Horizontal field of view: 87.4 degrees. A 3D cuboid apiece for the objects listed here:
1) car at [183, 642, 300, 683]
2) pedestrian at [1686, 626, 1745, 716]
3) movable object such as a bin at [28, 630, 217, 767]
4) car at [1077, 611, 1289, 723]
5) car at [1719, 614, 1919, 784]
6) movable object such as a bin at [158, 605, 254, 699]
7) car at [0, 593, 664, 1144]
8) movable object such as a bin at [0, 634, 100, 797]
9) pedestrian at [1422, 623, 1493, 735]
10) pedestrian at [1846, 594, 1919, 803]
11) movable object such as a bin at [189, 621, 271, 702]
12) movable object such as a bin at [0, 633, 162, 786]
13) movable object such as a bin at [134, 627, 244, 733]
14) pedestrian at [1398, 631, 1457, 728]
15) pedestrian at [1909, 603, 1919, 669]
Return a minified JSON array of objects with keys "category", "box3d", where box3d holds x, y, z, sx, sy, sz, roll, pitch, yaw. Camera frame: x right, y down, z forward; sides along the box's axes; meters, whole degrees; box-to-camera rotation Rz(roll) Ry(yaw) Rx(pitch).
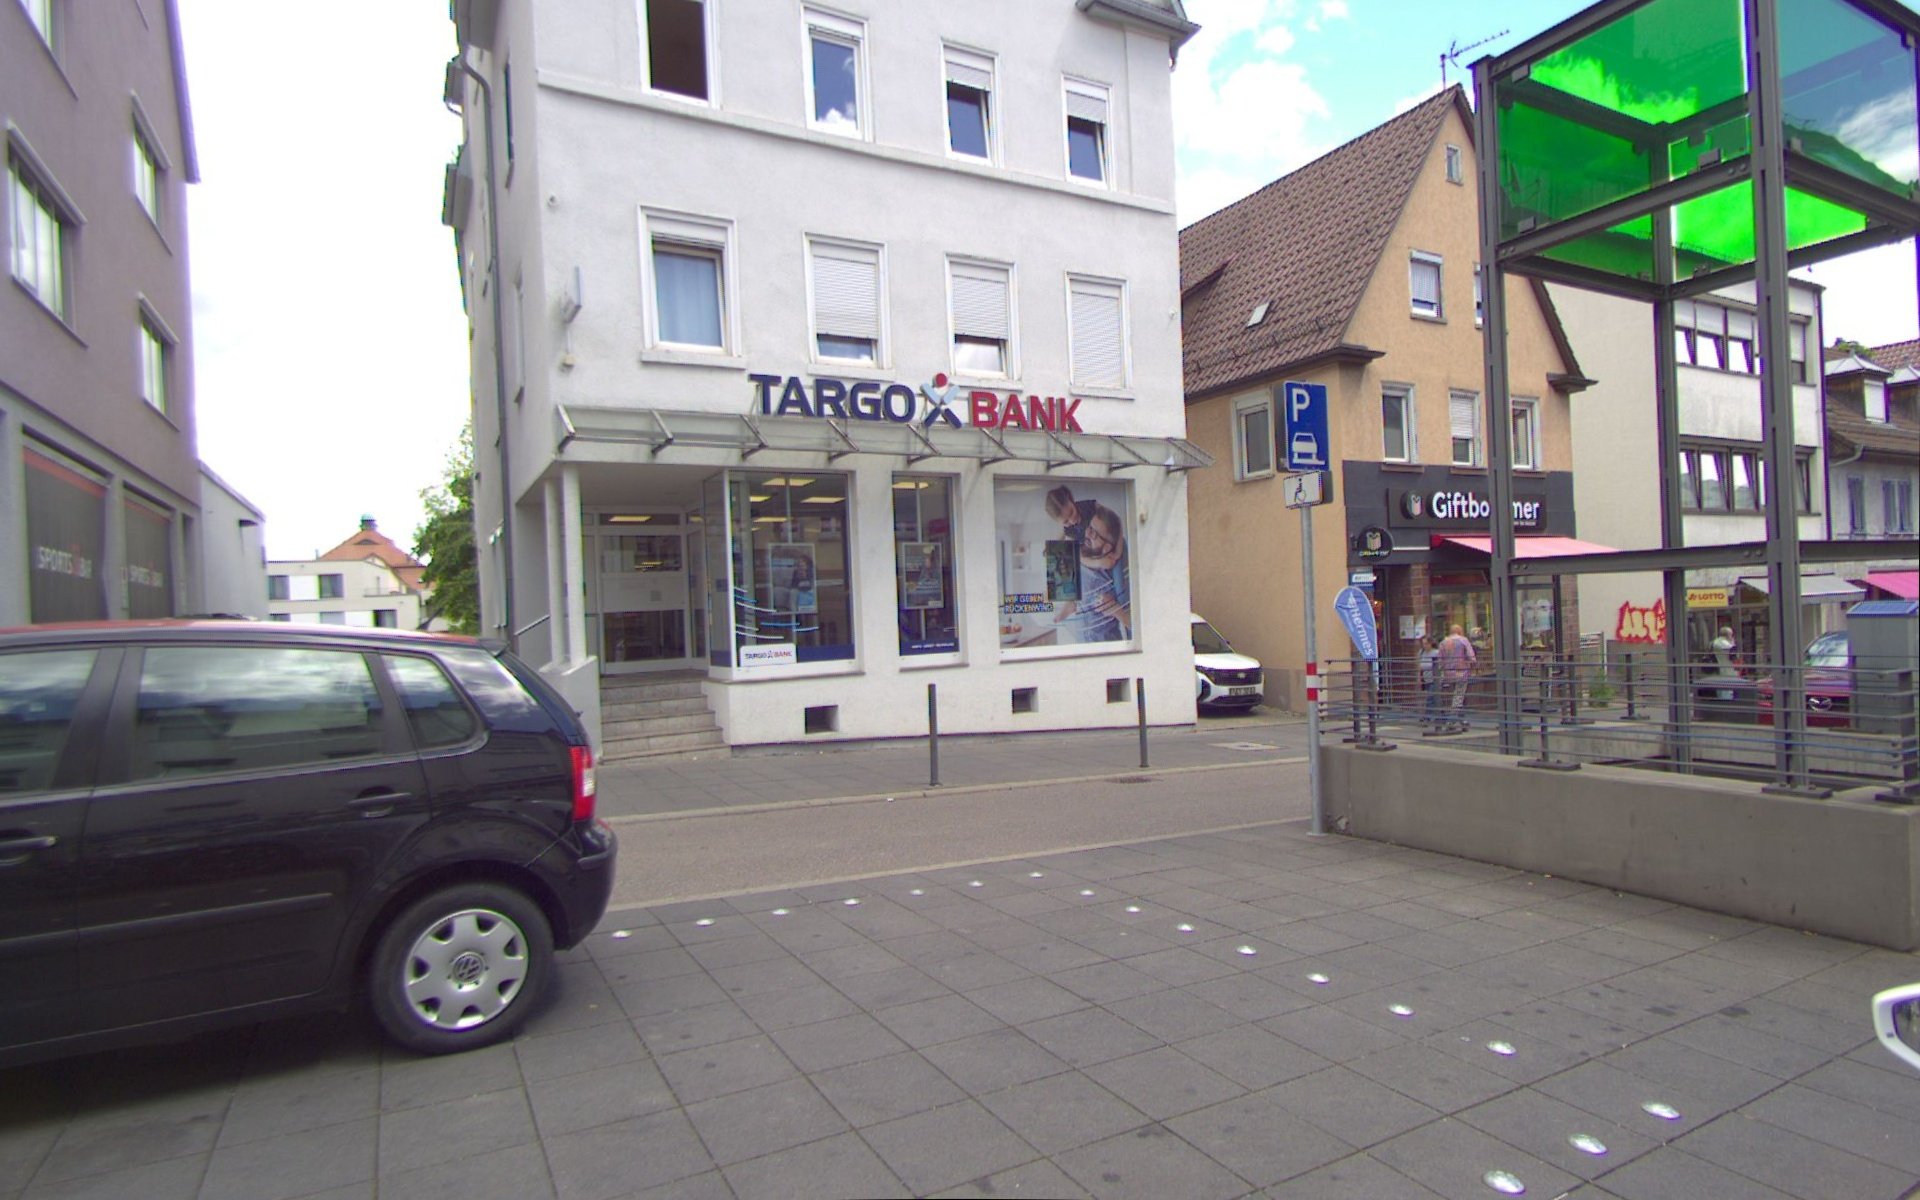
[{"category":"car","box3d":[-30.734,2.647,43.111,3.890,1.630,1.952,1,0,-30]},{"category":"pedestrian","box3d":[14.681,1.373,19.539,0.653,1.711,0.646,-1,-1,10]},{"category":"movable object such as a bin","box3d":[-9.268,1.037,11.218,1.390,1.394,1.277,1,-1,-30]},{"category":"car","box3d":[4.159,1.188,19.400,1.859,1.898,4.055,1,-1,-27]},{"category":"car","box3d":[10.392,0.981,11.115,4.144,1.563,1.730,1,0,-31]},{"category":"movable object such as a bin","box3d":[-11.876,0.798,15.867,1.031,1.394,1.277,1,-1,-30]},{"category":"car","box3d":[-3.115,0.766,3.360,3.814,1.494,1.560,1,-4,-33]},{"category":"movable object such as a bin","box3d":[-8.338,1.011,9.016,0.798,1.394,0.686,1,-1,-30]},{"category":"pedestrian","box3d":[7.871,1.221,15.890,0.816,1.711,0.637,1,-1,-26]},{"category":"pedestrian","box3d":[8.116,0.809,8.578,0.889,1.694,0.531,0,-1,-27]},{"category":"movable object such as a bin","box3d":[-13.144,1.076,18.127,1.031,1.394,1.277,1,-1,-30]},{"category":"movable object such as a bin","box3d":[-8.762,1.032,10.014,1.055,1.394,1.277,1,-1,-30]},{"category":"movable object such as a bin","box3d":[-10.781,1.078,14.107,1.031,1.394,1.277,1,-1,-30]},{"category":"pedestrian","box3d":[7.895,1.337,16.960,0.708,1.594,0.562,1,-3,-30]},{"category":"pedestrian","box3d":[25.439,0.946,26.396,0.570,1.711,0.575,1,0,-30]}]
